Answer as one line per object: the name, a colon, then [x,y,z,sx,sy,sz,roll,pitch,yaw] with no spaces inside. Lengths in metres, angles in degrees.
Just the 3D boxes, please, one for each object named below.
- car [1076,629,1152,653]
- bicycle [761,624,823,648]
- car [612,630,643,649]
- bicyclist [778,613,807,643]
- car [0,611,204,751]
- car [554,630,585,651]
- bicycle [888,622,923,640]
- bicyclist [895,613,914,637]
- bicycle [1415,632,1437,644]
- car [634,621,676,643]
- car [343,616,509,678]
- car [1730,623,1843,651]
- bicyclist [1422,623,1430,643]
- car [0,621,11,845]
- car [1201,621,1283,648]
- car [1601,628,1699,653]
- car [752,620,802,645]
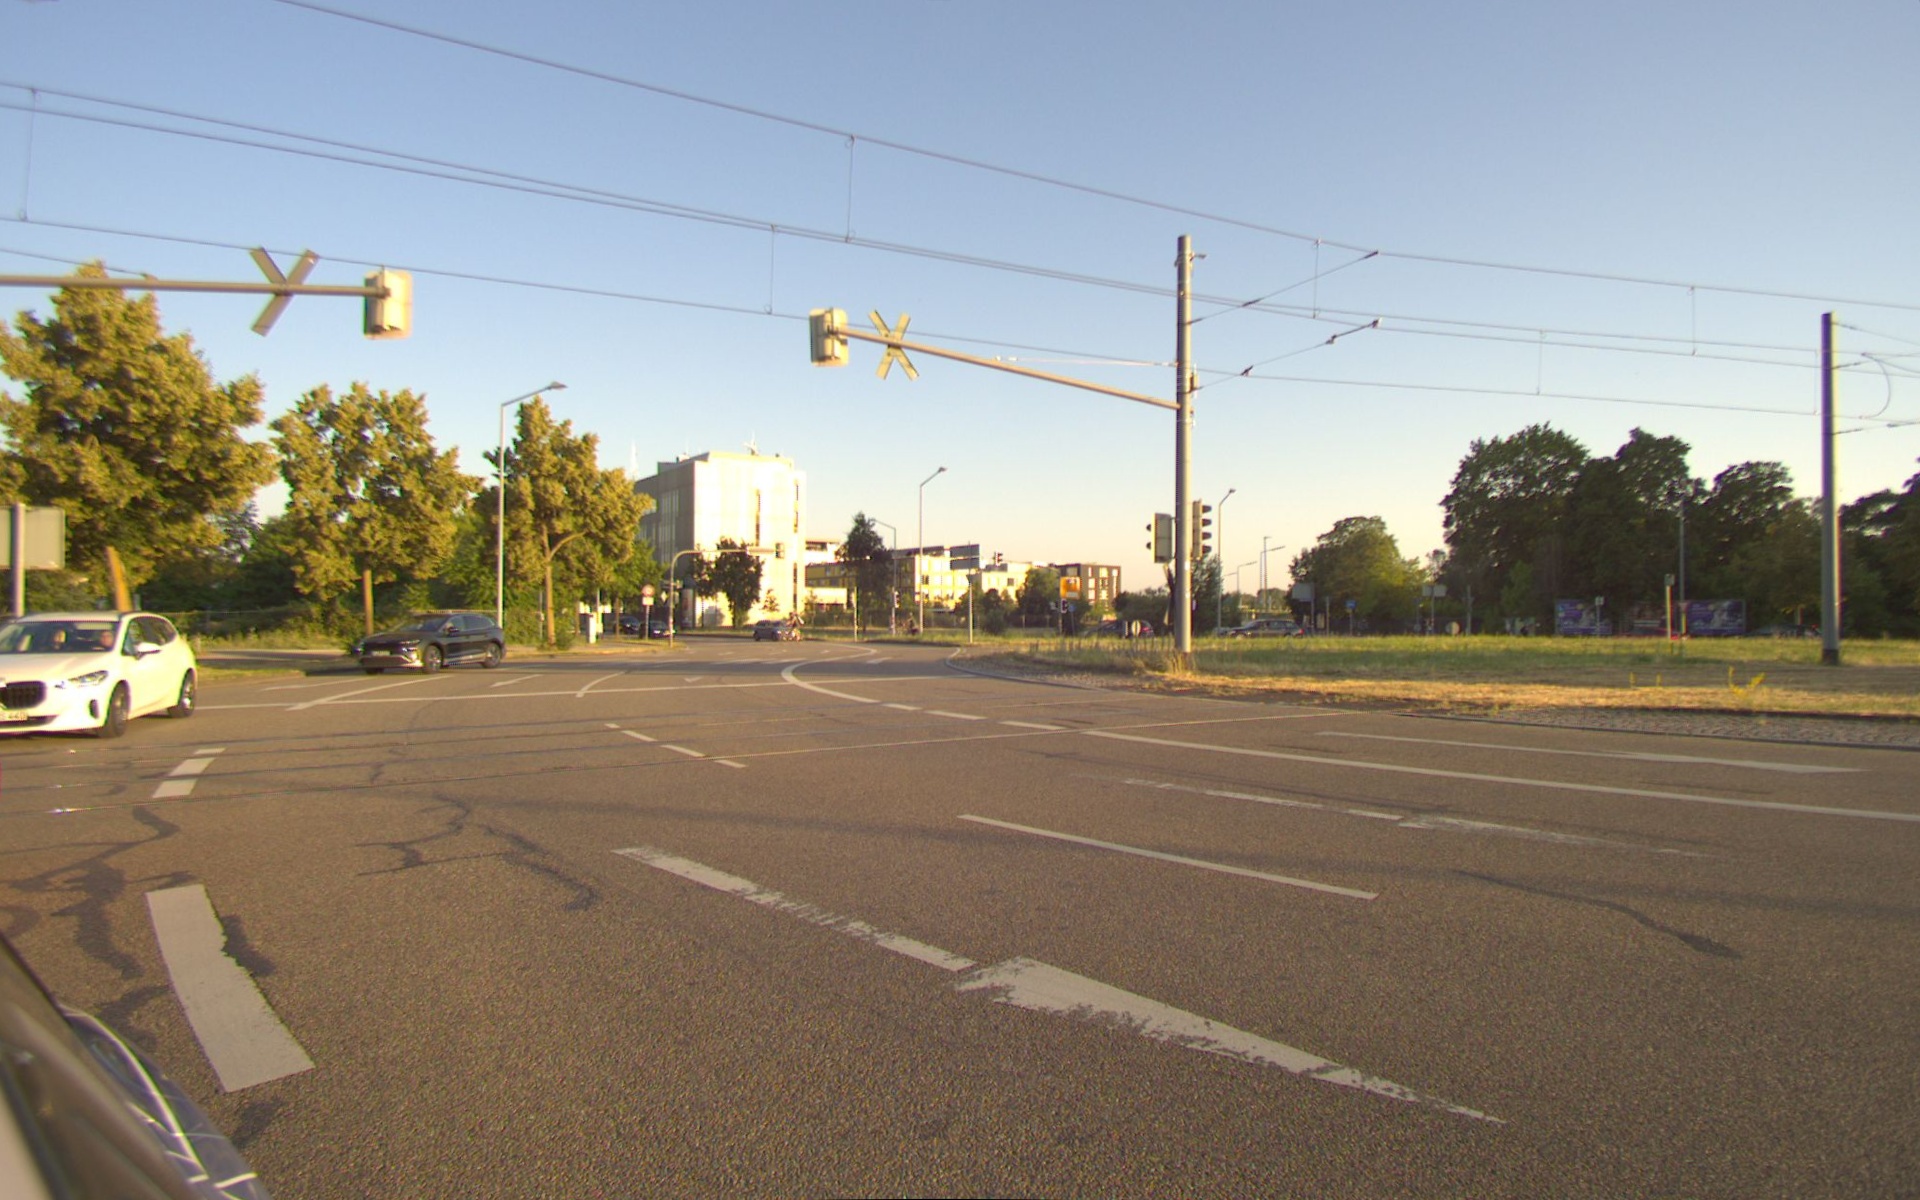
car: [9.727,2.580,63.967,4.380,1.443,1.927,-1,-2,27]
bicycle: [-10.000,2.110,60.244,3.479,1.406,1.127,1,-1,-31]
car: [-31.108,3.651,94.561,1.841,1.637,4.205,1,-1,-31]
bicyclist: [-9.957,1.674,60.266,1.393,1.762,1.127,1,-1,-31]
car: [-11.610,0.958,13.241,1.730,1.570,4.228,1,-2,-22]
car: [-34.686,3.570,89.841,1.841,1.763,3.863,1,-1,-31]
bicycle: [-3.672,2.086,68.803,2.290,1.188,0.813,1,-1,-34]
bicyclist: [-3.758,1.697,68.742,0.984,1.645,0.813,1,-1,-33]
bicycle: [33.613,2.737,72.993,1.403,0.797,0.472,0,-2,11]
car: [-23.987,2.497,79.523,1.843,1.637,4.202,1,-1,-37]
car: [-14.425,1.243,27.654,1.809,1.570,4.200,0,-2,11]
car: [44.488,1.975,54.597,1.911,1.443,4.333,0,-2,-18]
bicyclist: [33.619,2.360,72.988,0.443,1.408,0.472,0,-2,10]
car: [-5.835,0.796,4.773,1.667,1.432,4.218,0,-2,-39]
car: [16.195,1.992,58.265,4.195,1.512,1.842,0,-1,0]
car: [41.801,2.452,61.460,1.911,1.443,4.609,1,-2,-21]
car: [-12.453,2.179,68.709,1.842,1.637,4.204,1,-1,-34]
